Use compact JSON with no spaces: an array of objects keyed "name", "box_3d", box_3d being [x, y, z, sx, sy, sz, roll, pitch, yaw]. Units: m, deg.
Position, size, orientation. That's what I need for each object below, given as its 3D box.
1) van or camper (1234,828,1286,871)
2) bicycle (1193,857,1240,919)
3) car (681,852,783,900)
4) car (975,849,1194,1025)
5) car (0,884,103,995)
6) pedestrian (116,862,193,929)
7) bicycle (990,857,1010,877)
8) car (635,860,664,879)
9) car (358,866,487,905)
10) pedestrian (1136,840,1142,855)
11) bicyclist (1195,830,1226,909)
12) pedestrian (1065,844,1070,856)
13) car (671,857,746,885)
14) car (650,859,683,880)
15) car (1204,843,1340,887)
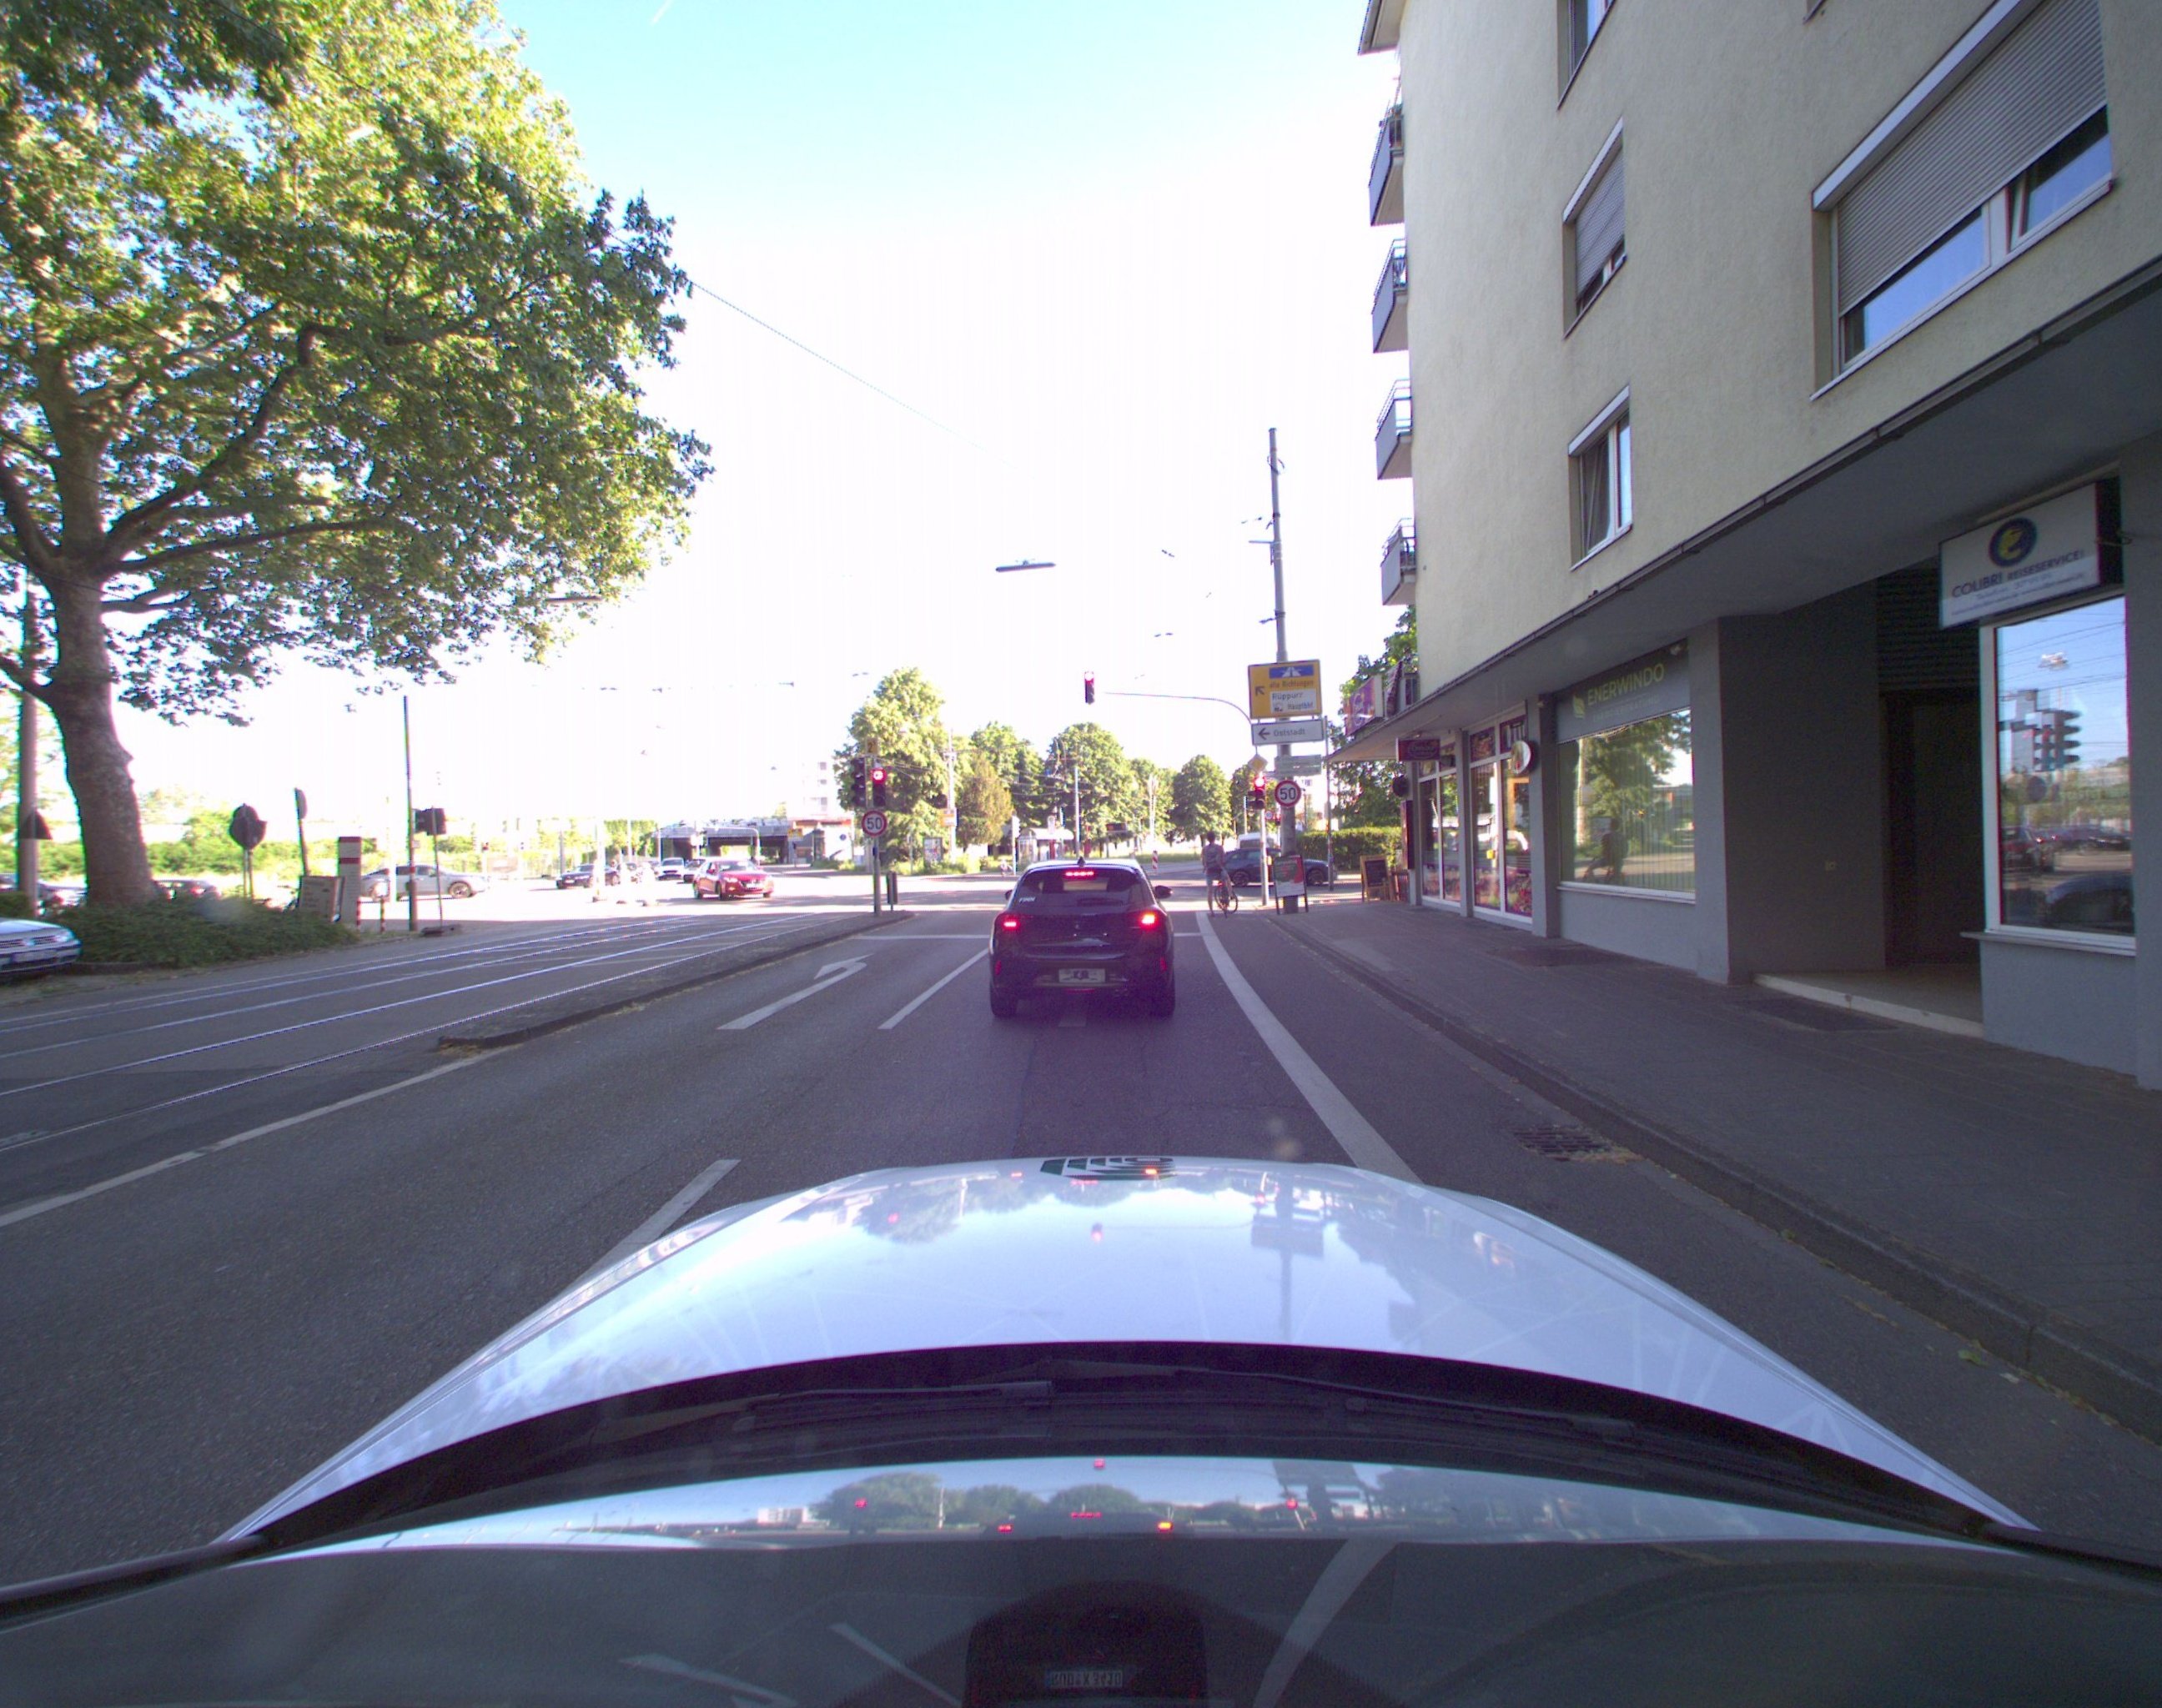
[{"name":"van or camper","box_3d":[10.241,-0.223,46.320,2.011,2.310,4.565,-1,-1,23]},{"name":"bicycle","box_3d":[3.013,0.714,17.916,0.747,1.235,2.024,-2,0,16]},{"name":"car","box_3d":[-12.767,0.753,29.663,2.034,1.565,4.437,-2,0,-43]},{"name":"car","box_3d":[0.091,0.700,8.923,1.833,1.462,3.985,-1,0,2]},{"name":"car","box_3d":[-16.631,1.195,11.336,3.957,1.453,1.670,-1,0,-1]},{"name":"pedestrian","box_3d":[-23.351,1.019,20.541,0.842,1.647,0.931,0,-1,1]},{"name":"bicycle","box_3d":[-4.609,0.735,46.438,0.793,1.064,2.186,-2,0,2]},{"name":"car","box_3d":[-38.318,1.344,72.398,1.892,1.585,3.809,0,-1,-21]},{"name":"car","box_3d":[-29.489,1.389,36.625,4.218,1.519,1.786,-2,1,-30]},{"name":"pedestrian","box_3d":[7.395,-0.813,103.983,0.608,1.872,0.514,0,-1,-34]},{"name":"bicyclist","box_3d":[2.839,0.328,17.845,0.529,1.692,0.571,-2,0,19]},{"name":"pedestrian","box_3d":[-2.027,-0.585,122.915,0.602,1.872,0.519,0,-1,-4]},{"name":"car","box_3d":[-21.473,0.952,47.123,1.980,1.552,4.206,-1,-1,8]},{"name":"car","box_3d":[-32.175,1.167,63.269,1.892,1.585,3.809,0,-1,-21]},{"name":"car","box_3d":[6.960,0.394,30.165,4.701,1.473,1.943,-1,0,7]}]
